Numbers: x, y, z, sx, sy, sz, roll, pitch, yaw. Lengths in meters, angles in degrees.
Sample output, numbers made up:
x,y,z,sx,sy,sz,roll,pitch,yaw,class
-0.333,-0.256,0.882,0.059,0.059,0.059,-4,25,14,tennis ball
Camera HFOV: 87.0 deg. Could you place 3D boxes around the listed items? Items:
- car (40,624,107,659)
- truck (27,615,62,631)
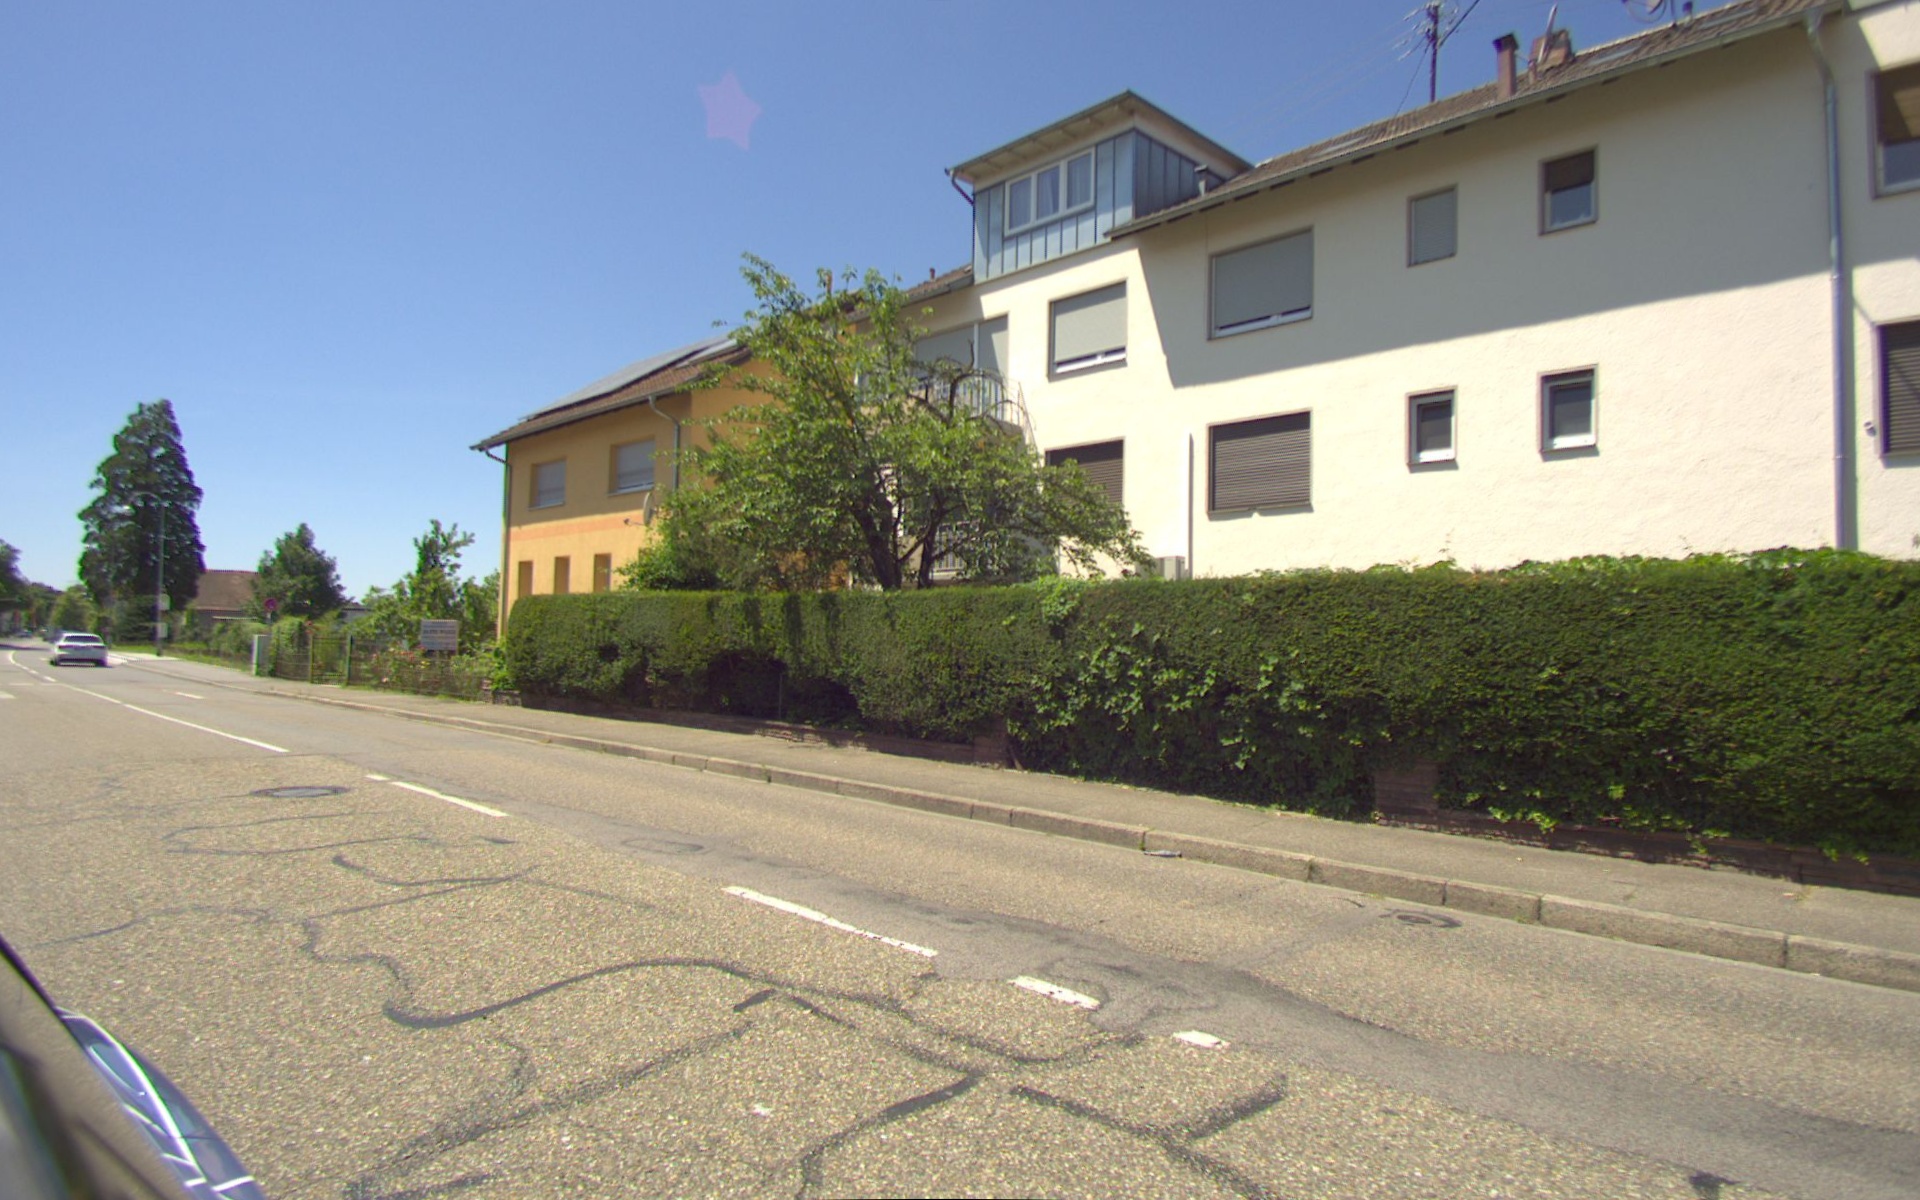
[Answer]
x,y,z,sx,sy,sz,roll,pitch,yaw,class
-37.973,1.765,43.326,4.206,1.383,1.662,-1,-5,43,car
-130.873,3.293,144.673,6.248,2.258,2.591,-1,-3,38,truck
